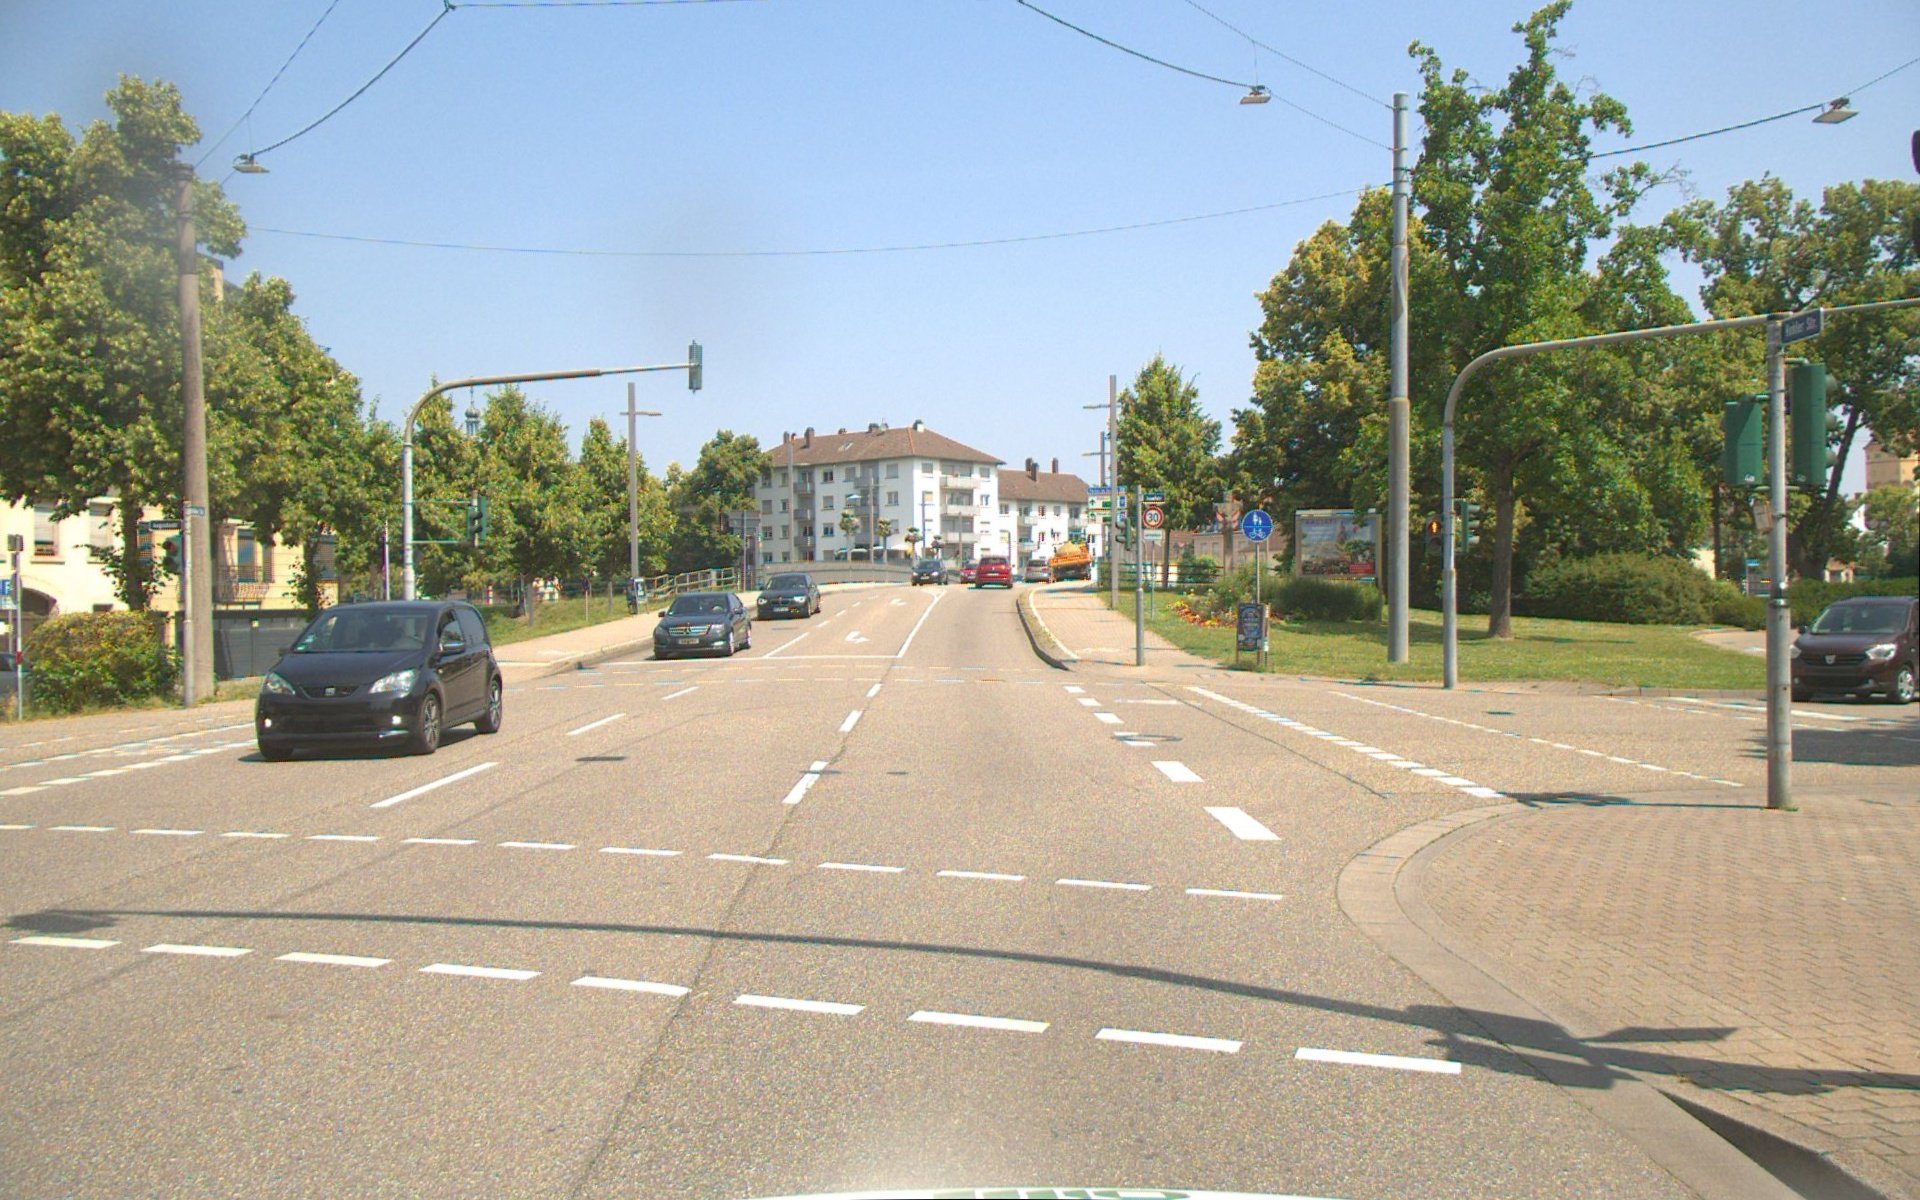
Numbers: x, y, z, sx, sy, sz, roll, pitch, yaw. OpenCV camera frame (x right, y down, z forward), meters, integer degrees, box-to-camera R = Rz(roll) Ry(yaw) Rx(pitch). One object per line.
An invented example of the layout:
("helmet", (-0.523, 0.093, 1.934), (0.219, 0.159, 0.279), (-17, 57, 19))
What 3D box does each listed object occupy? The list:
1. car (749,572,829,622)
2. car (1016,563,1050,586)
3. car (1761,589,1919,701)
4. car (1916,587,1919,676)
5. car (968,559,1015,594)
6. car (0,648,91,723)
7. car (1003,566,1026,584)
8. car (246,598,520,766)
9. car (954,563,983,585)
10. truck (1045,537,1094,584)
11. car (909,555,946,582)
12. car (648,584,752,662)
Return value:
("car", (-5.704, -0.125, 55.682), (1.798, 1.423, 4.053), (-4, 2, 6))
("car", (5.097, -1.762, 114.910), (1.995, 1.529, 4.421), (1, 0, 7))
("car", (14.950, 0.679, 26.891), (4.779, 1.660, 1.888), (0, -1, -43))
("car", (19.217, 0.597, 31.156), (1.956, 1.731, 4.761), (-1, -1, 29))
("car", (1.594, -1.185, 81.993), (1.948, 1.641, 4.345), (-1, 1, 5))
("car", (-22.346, 1.991, 38.287), (1.738, 1.457, 4.433), (1, 2, 7))
("car", (4.905, -2.242, 147.758), (1.677, 1.511, 4.034), (1, 0, 7))
("car", (-5.775, 0.745, 16.995), (1.583, 1.481, 3.709), (-1, 1, -2))
("car", (0.620, -1.833, 116.340), (1.612, 1.490, 3.864), (0, 0, 7))
("truck", (6.741, -2.375, 100.834), (2.550, 2.738, 5.828), (-1, 1, 8))
("car", (-1.864, -1.812, 96.692), (1.677, 1.511, 4.034), (1, 0, 6))
("car", (-5.963, 0.483, 38.338), (1.720, 1.587, 4.318), (-2, 2, -1))
